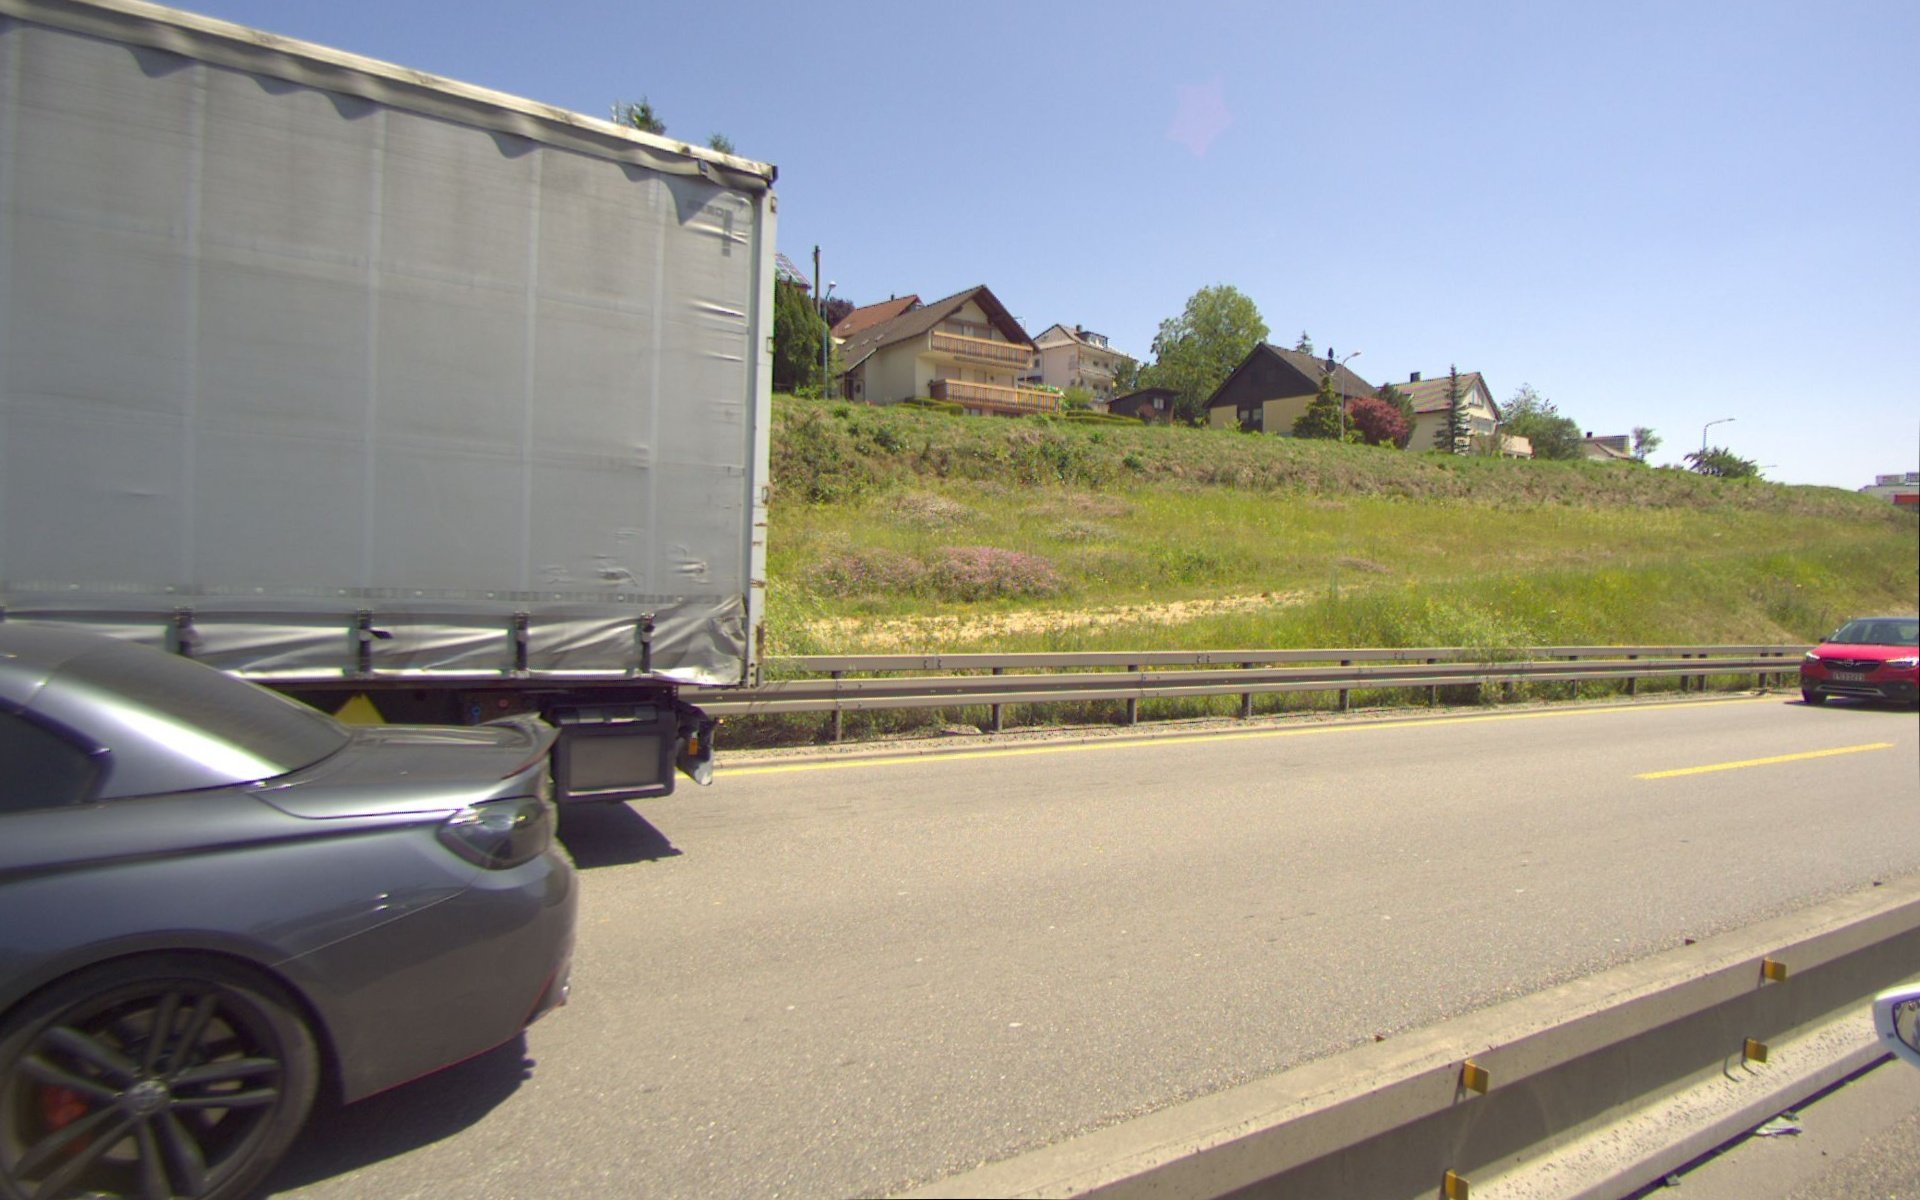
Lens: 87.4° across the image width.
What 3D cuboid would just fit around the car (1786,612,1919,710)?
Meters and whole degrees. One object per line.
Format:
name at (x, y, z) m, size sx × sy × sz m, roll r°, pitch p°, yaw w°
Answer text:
car at (16.964, 1.048, 18.241) m, size 4.215 × 1.572 × 1.708 m, roll 1°, pitch 0°, yaw -31°

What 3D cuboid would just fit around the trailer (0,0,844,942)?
trailer at (-7.112, -0.789, 3.658) m, size 13.281 × 4.179 × 2.842 m, roll 1°, pitch 0°, yaw -31°

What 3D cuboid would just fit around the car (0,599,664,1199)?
car at (-3.133, 0.687, 2.405) m, size 4.360 × 1.381 × 1.759 m, roll 1°, pitch 0°, yaw -31°
